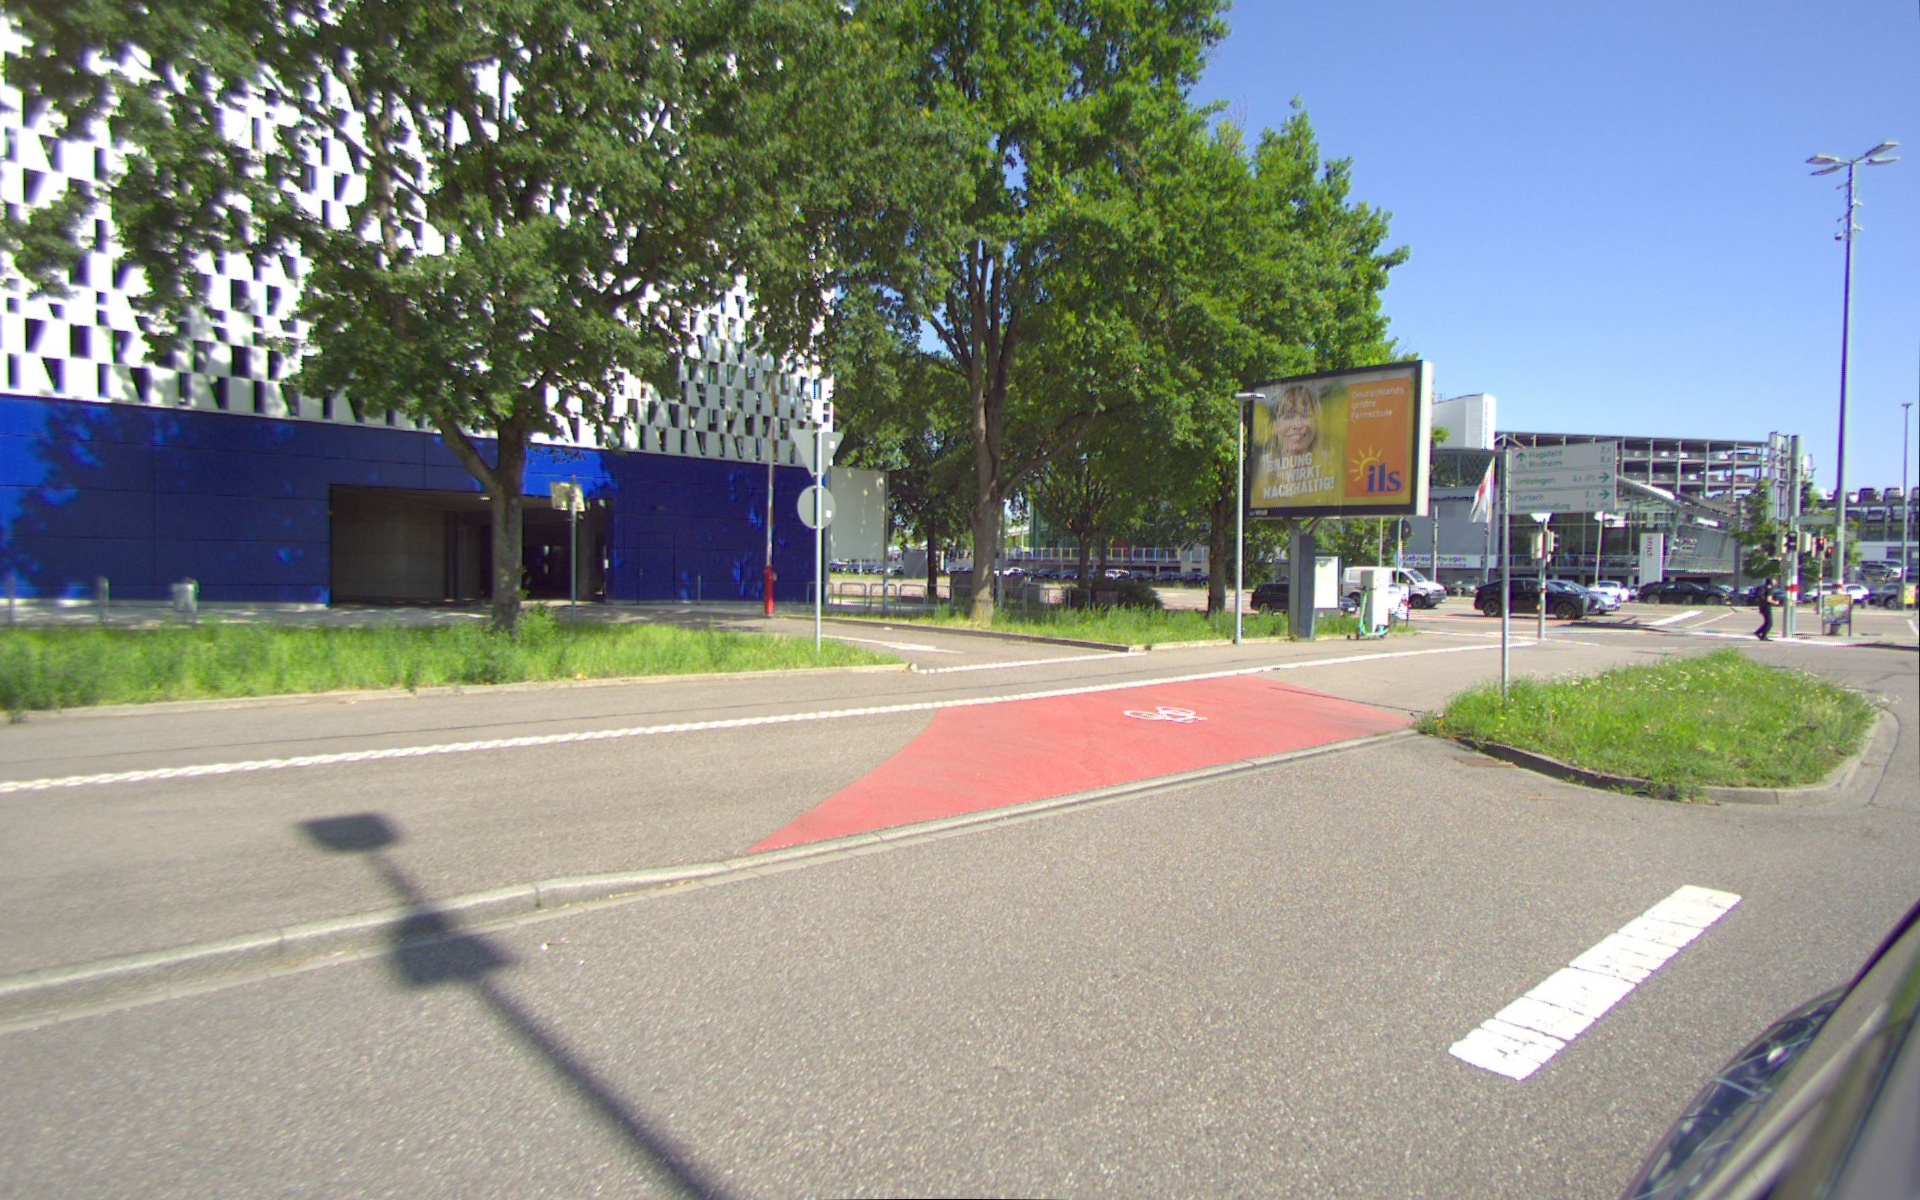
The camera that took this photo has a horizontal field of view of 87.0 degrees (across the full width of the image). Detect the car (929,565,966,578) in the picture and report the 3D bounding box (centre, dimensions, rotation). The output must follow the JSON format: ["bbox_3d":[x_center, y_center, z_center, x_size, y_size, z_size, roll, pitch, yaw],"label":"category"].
[{"bbox_3d":[-1.240,-2.845,100.820,3.356,1.264,1.594,-1,2,-39],"label":"car"}]

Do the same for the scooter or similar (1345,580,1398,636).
[{"bbox_3d":[8.961,0.164,22.022,1.160,1.181,0.403,-1,2,-26],"label":"scooter or similar"}]

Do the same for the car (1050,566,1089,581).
[{"bbox_3d":[10.020,-2.418,92.642,3.354,1.264,1.595,-1,2,-37],"label":"car"}]

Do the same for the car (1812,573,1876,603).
[{"bbox_3d":[47.364,-0.651,54.191,3.928,1.478,1.888,-2,3,-38],"label":"car"}]

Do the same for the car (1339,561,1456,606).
[{"bbox_3d":[21.250,-0.870,49.341,1.713,2.032,4.988,-3,4,-44],"label":"car"}]

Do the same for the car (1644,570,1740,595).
[{"bbox_3d":[43.100,-1.040,59.632,1.792,1.366,4.340,-1,3,-45],"label":"car"}]

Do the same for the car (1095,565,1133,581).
[{"bbox_3d":[13.637,-2.360,89.460,3.114,1.341,1.640,-1,2,-39],"label":"car"}]

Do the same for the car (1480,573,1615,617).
[{"bbox_3d":[23.885,-0.245,41.275,1.688,1.647,4.492,-3,3,-44],"label":"car"}]

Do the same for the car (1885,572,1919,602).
[{"bbox_3d":[53.217,-0.692,54.774,1.946,1.607,4.475,-1,2,-42],"label":"car"}]

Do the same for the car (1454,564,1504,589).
[{"bbox_3d":[34.499,-1.544,67.249,1.925,1.581,3.827,2,2,44],"label":"car"}]

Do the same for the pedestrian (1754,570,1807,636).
[{"bbox_3d":[23.069,0.073,28.452,0.939,1.801,0.708,0,2,-19],"label":"pedestrian"}]

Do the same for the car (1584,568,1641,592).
[{"bbox_3d":[39.876,-1.232,61.800,4.046,1.439,2.001,-1,3,-44],"label":"car"}]

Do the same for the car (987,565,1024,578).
[{"bbox_3d":[4.447,-2.761,98.447,3.356,1.264,1.594,-1,2,-39],"label":"car"}]

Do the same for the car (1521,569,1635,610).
[{"bbox_3d":[26.718,-0.492,43.845,1.728,1.632,3.829,-2,3,-37],"label":"car"}]

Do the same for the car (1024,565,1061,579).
[{"bbox_3d":[7.735,-2.578,94.881,3.356,1.264,1.594,-1,2,-39],"label":"car"}]

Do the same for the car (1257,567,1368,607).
[{"bbox_3d":[14.885,-0.580,42.936,1.737,1.482,4.243,0,4,-32],"label":"car"}]

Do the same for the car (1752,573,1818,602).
[{"bbox_3d":[45.585,-0.705,55.880,3.927,1.479,1.999,-1,2,-38],"label":"car"}]
